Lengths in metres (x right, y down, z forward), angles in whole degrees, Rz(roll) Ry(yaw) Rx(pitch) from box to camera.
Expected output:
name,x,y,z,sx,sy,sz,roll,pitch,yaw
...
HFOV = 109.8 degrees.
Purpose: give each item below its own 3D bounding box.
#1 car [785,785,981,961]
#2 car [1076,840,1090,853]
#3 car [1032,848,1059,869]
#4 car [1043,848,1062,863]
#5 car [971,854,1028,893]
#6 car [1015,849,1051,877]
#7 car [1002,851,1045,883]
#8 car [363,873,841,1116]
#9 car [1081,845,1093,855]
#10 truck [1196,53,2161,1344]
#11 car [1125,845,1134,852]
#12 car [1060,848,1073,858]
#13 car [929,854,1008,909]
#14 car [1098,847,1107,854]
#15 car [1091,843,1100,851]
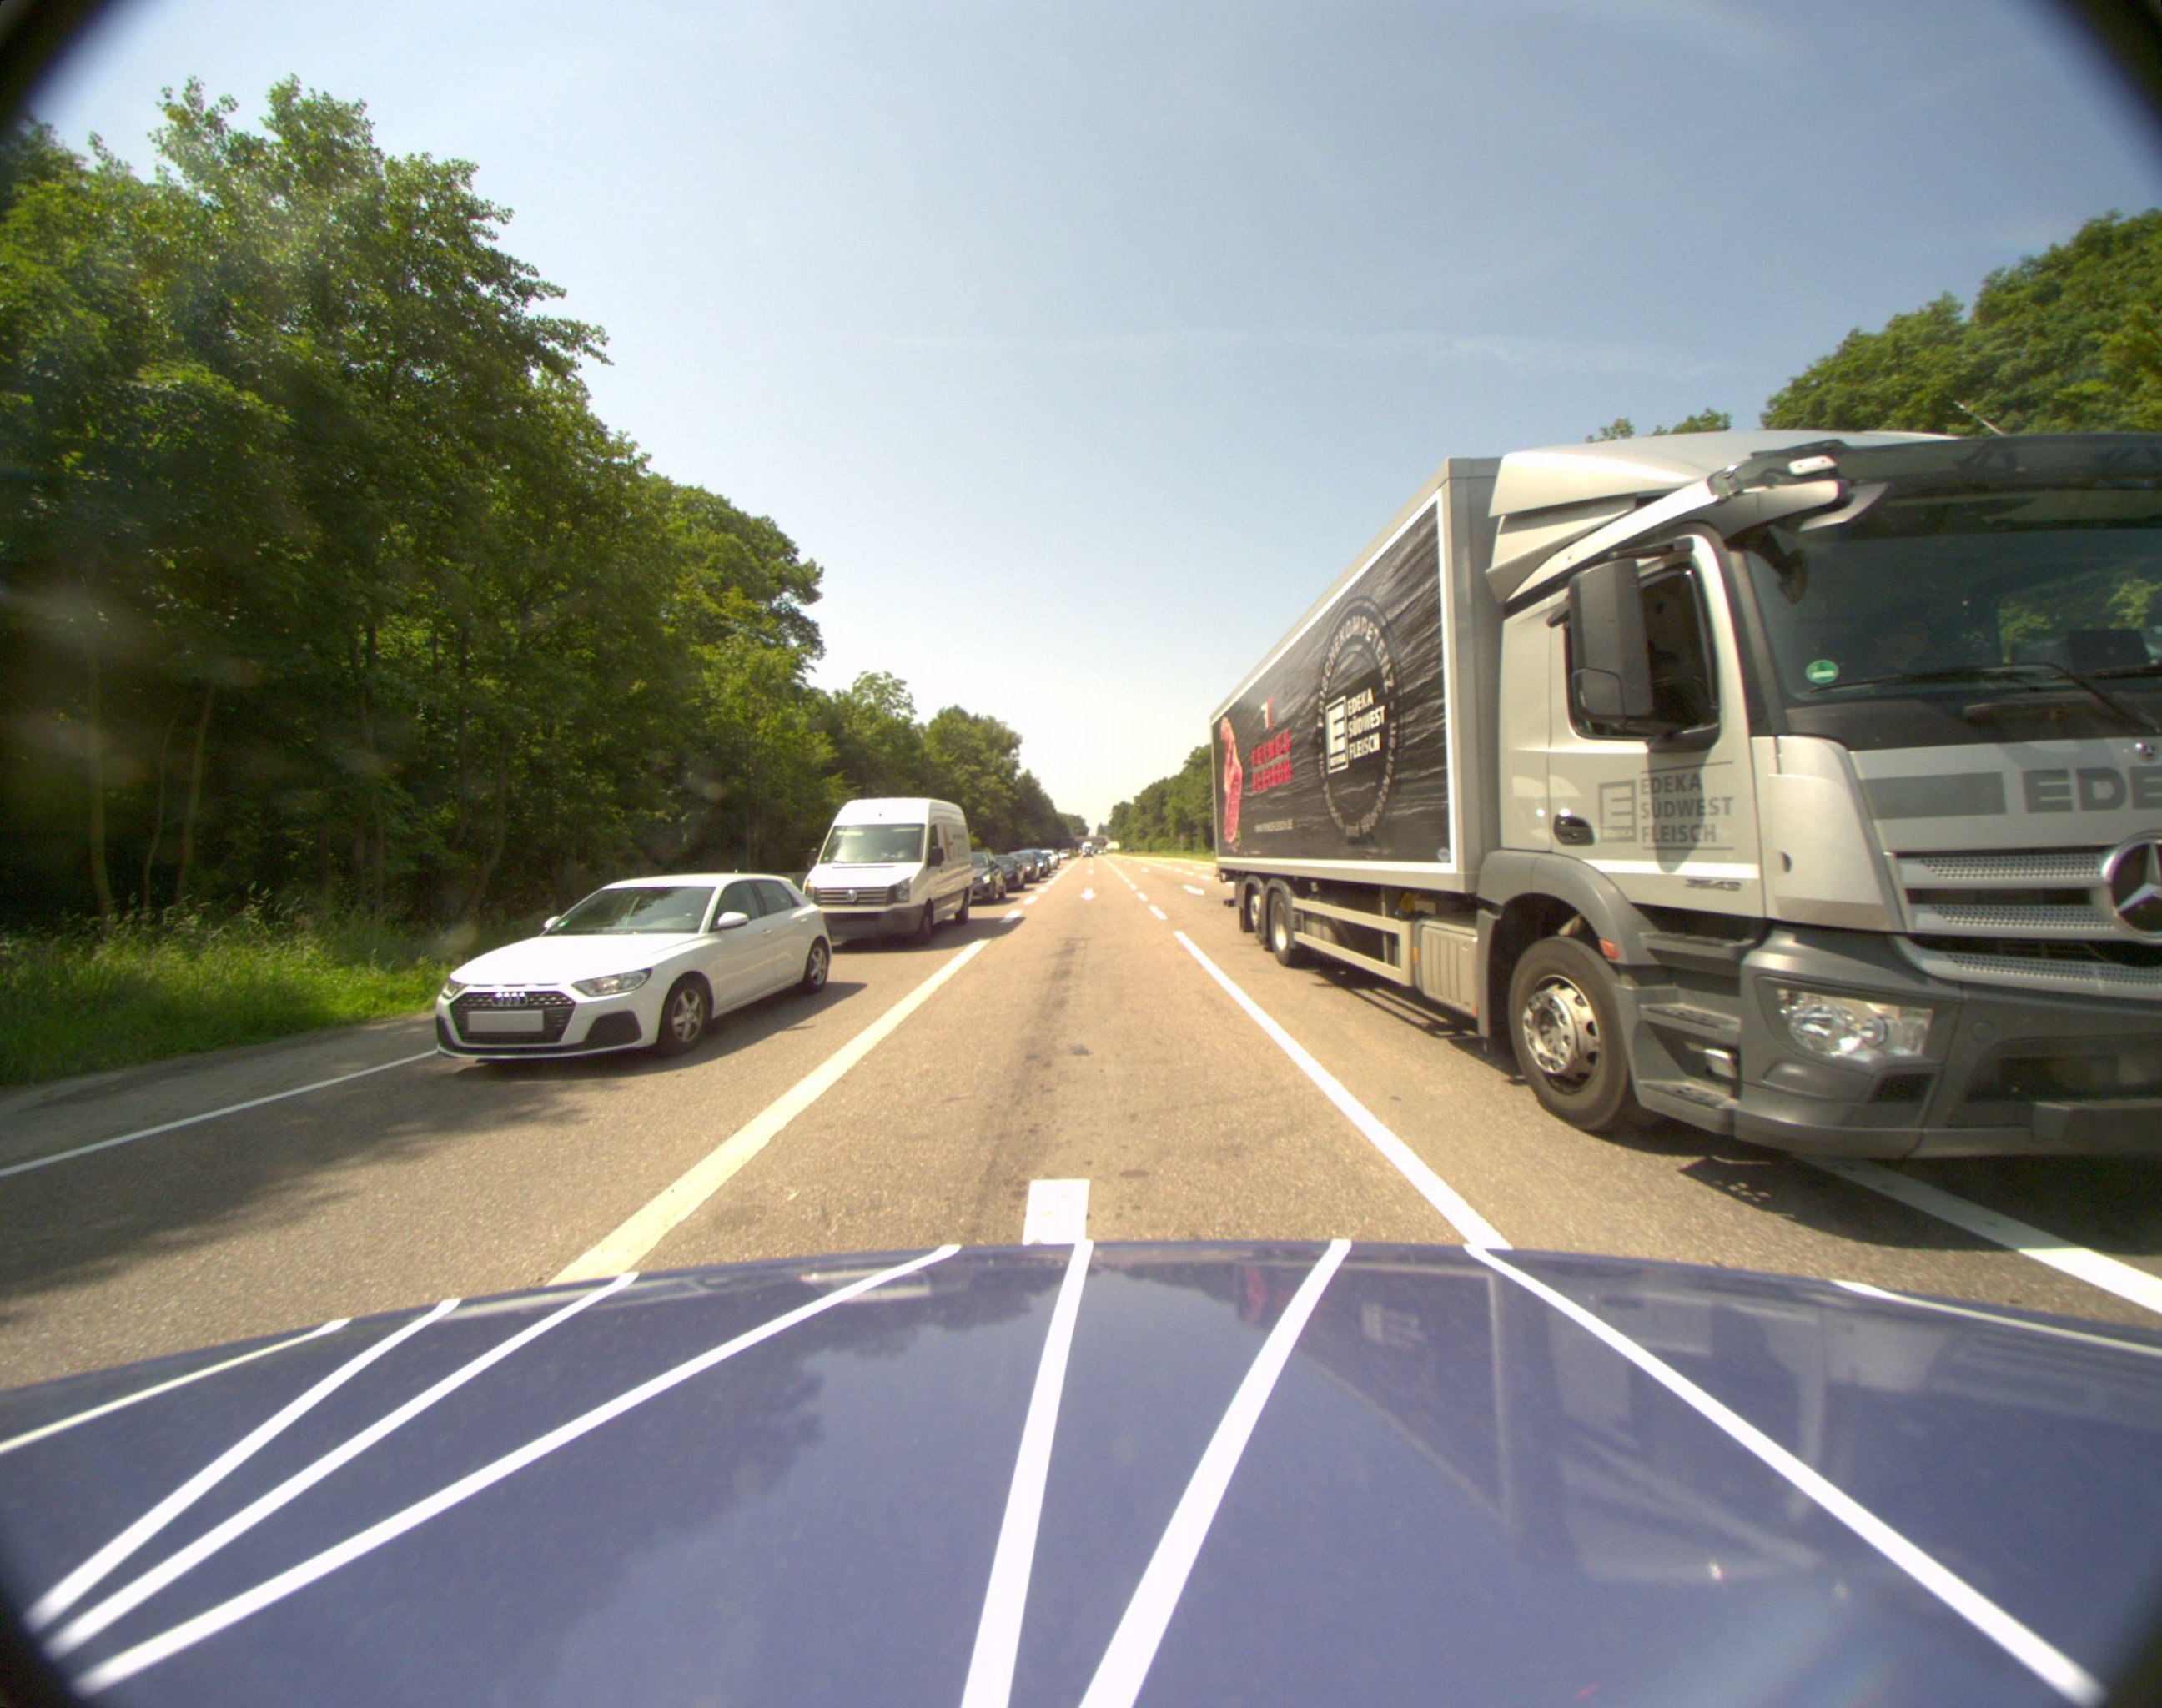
name,x,y,z,sx,sy,sz,roll,pitch,yaw
car,-3.439,0.269,14.723,1.974,2.630,6.059,-2,1,1
car,0.475,-1.519,161.728,2.673,2.685,6.330,0,1,2
car,-2.751,0.320,60.154,1.796,1.431,4.228,-2,1,1
car,-2.890,0.125,78.358,1.796,1.431,4.227,-1,1,0
car,-3.133,0.707,29.988,1.796,1.348,4.227,-1,1,0
car,-2.701,0.485,43.318,1.796,1.431,4.227,-1,1,0
car,-2.759,0.587,37.304,1.796,1.431,4.227,-1,1,0
car,-3.888,1.013,7.142,1.693,1.427,4.000,-3,1,4
car,0.982,-0.718,130.578,1.992,1.575,4.364,-1,1,0
truck,3.552,-0.541,7.972,2.753,3.863,11.318,-2,1,0
car,11.614,-1.357,181.832,1.998,1.543,3.999,-2,1,0
car,-2.169,-0.156,112.380,1.796,1.431,4.227,-1,1,0
car,-3.360,0.776,23.521,1.796,1.452,4.227,-2,1,0
car,4.744,-0.752,169.418,1.998,1.543,3.999,0,1,0
car,3.729,-1.770,194.032,1.998,1.868,4.001,0,1,4
